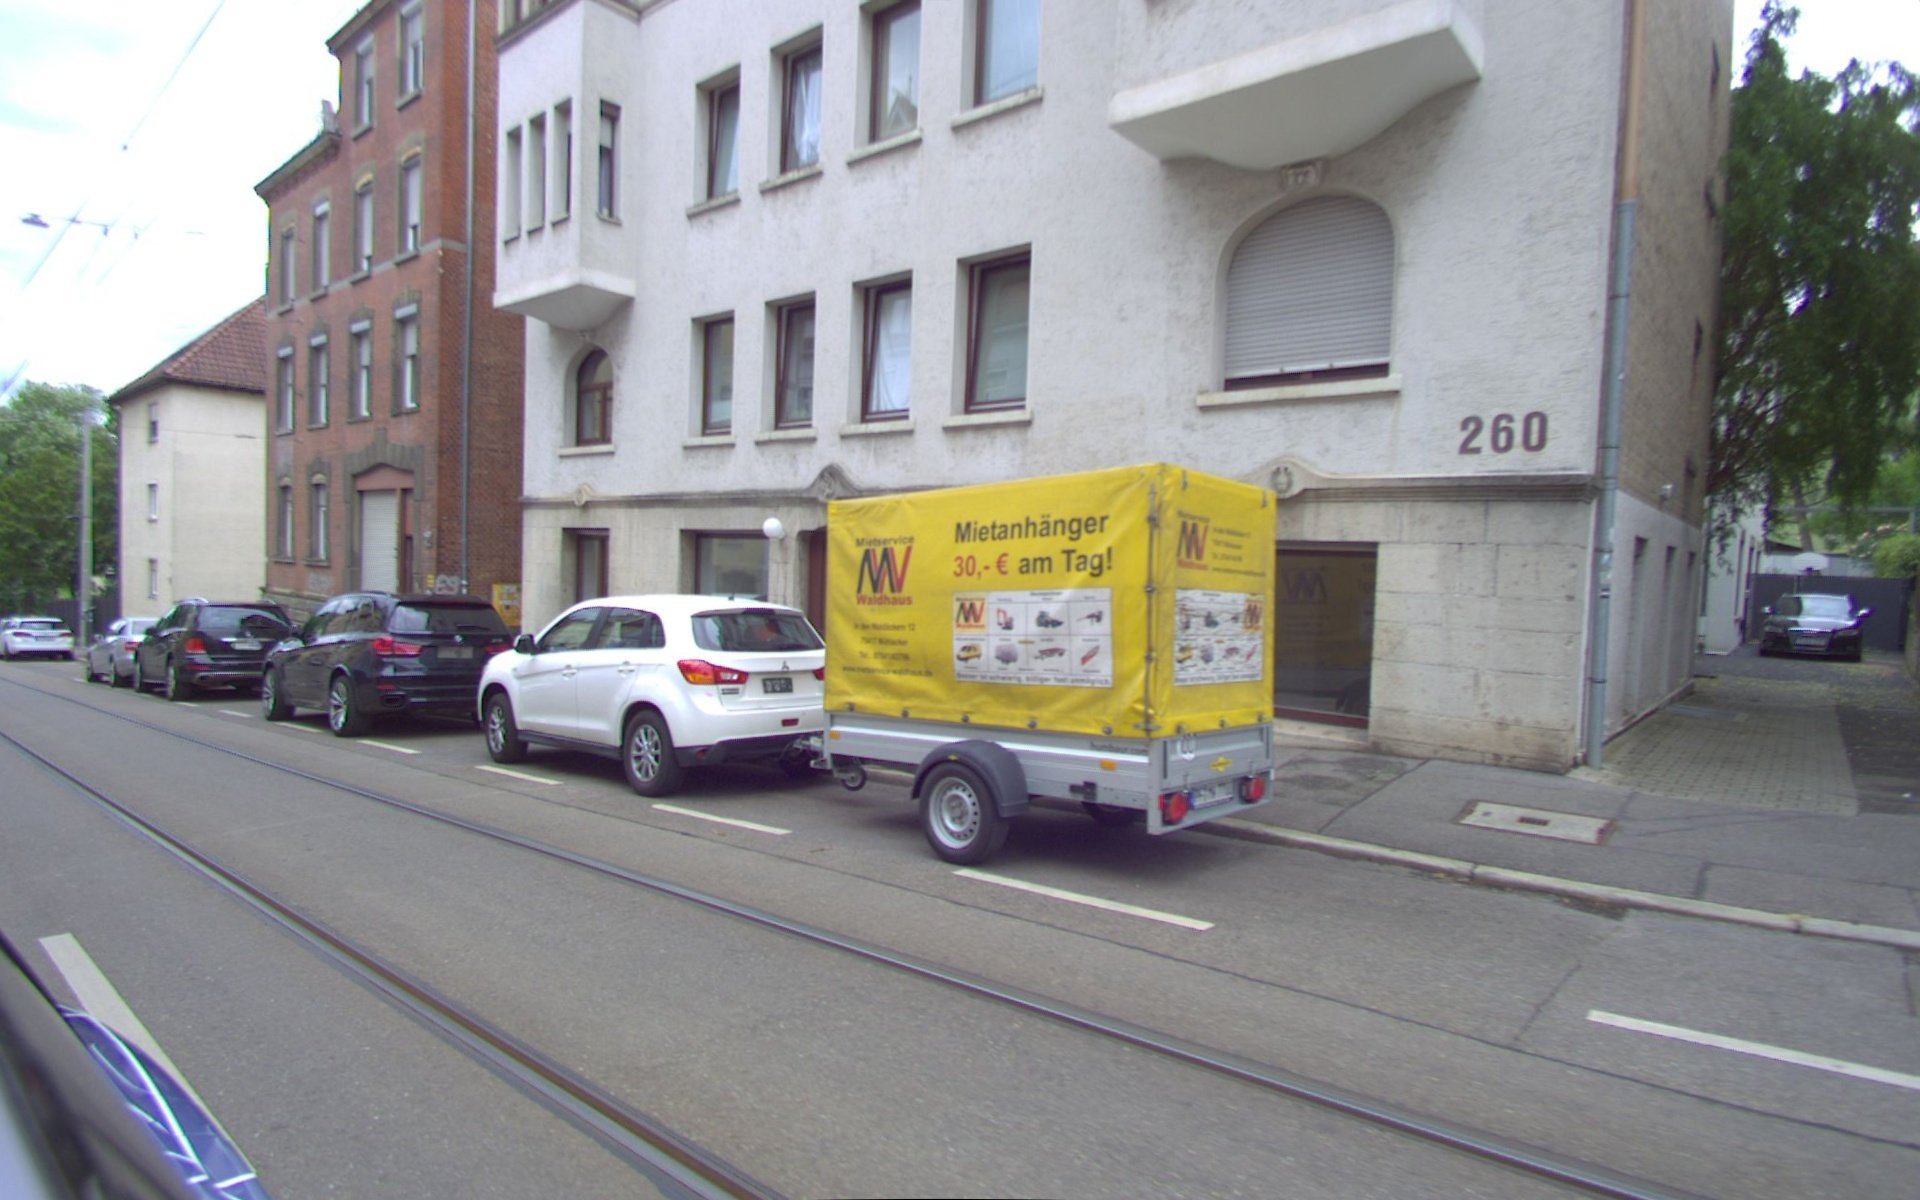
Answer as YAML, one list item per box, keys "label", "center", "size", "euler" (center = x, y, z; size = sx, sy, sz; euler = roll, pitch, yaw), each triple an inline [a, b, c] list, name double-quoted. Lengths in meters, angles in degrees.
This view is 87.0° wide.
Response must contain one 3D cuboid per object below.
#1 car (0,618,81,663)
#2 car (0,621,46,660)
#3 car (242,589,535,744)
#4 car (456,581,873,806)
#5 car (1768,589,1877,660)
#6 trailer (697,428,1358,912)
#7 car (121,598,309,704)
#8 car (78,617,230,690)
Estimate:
- label: "car"
  center: [-32.255, 1.407, 35.133]
  size: [4.622, 1.440, 1.809]
  euler: [-1, -4, 39]
- label: "car"
  center: [-35.882, 1.530, 38.224]
  size: [3.806, 1.379, 1.583]
  euler: [-2, -4, 42]
- label: "car"
  center: [-7.651, 0.800, 13.321]
  size: [4.890, 1.677, 1.853]
  euler: [-2, -3, 42]
- label: "car"
  center: [-2.879, 0.735, 9.315]
  size: [4.267, 1.606, 1.679]
  euler: [-2, -3, 42]
- label: "car"
  center: [19.208, 0.476, 22.586]
  size: [1.698, 1.319, 3.779]
  euler: [2, 3, 40]
- label: "trailer"
  center: [0.210, 0.373, 6.560]
  size: [4.070, 2.172, 1.730]
  euler: [-2, -3, 42]
- label: "car"
  center: [-13.974, 0.905, 18.862]
  size: [4.911, 1.731, 1.808]
  euler: [-2, -3, 42]
- label: "car"
  center: [-17.826, 1.137, 22.303]
  size: [4.837, 1.440, 1.808]
  euler: [-2, -3, 42]
